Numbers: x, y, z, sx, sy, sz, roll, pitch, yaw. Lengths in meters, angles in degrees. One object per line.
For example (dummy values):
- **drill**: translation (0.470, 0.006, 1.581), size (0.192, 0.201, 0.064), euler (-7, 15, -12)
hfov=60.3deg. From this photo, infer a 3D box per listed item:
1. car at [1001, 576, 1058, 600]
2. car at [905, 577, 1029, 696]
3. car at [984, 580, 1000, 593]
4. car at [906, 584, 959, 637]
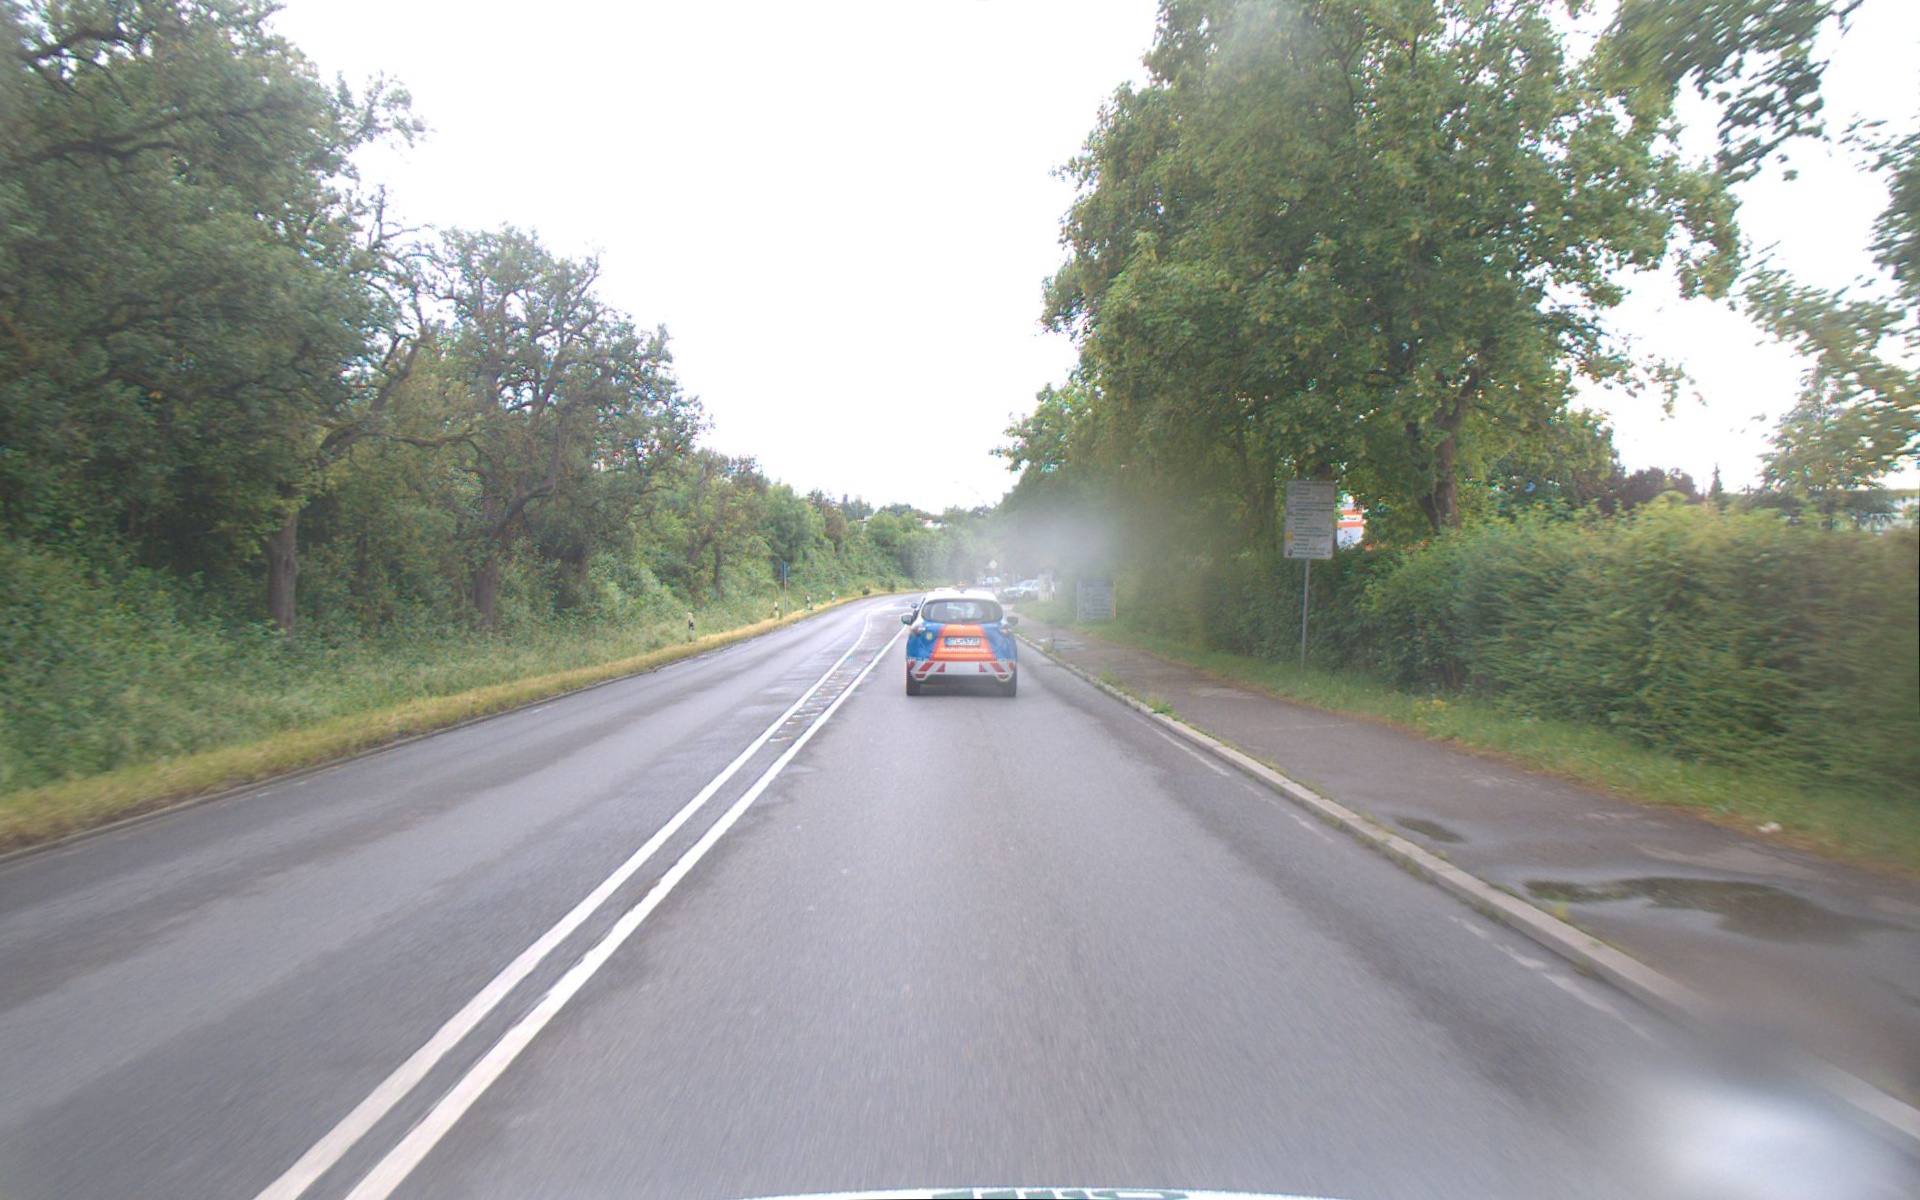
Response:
- **car**: translation (5.545, -0.952, 131.748), size (2.001, 1.782, 4.586), euler (1, 0, 44)
- **car**: translation (0.066, 0.539, 26.105), size (1.769, 1.697, 3.855), euler (1, 0, -1)
- **car**: translation (4.751, -2.046, 245.727), size (1.658, 1.822, 3.859), euler (1, 0, 12)
- **car**: translation (-0.884, 0.340, 54.349), size (1.659, 1.623, 3.855), euler (1, 0, -1)
